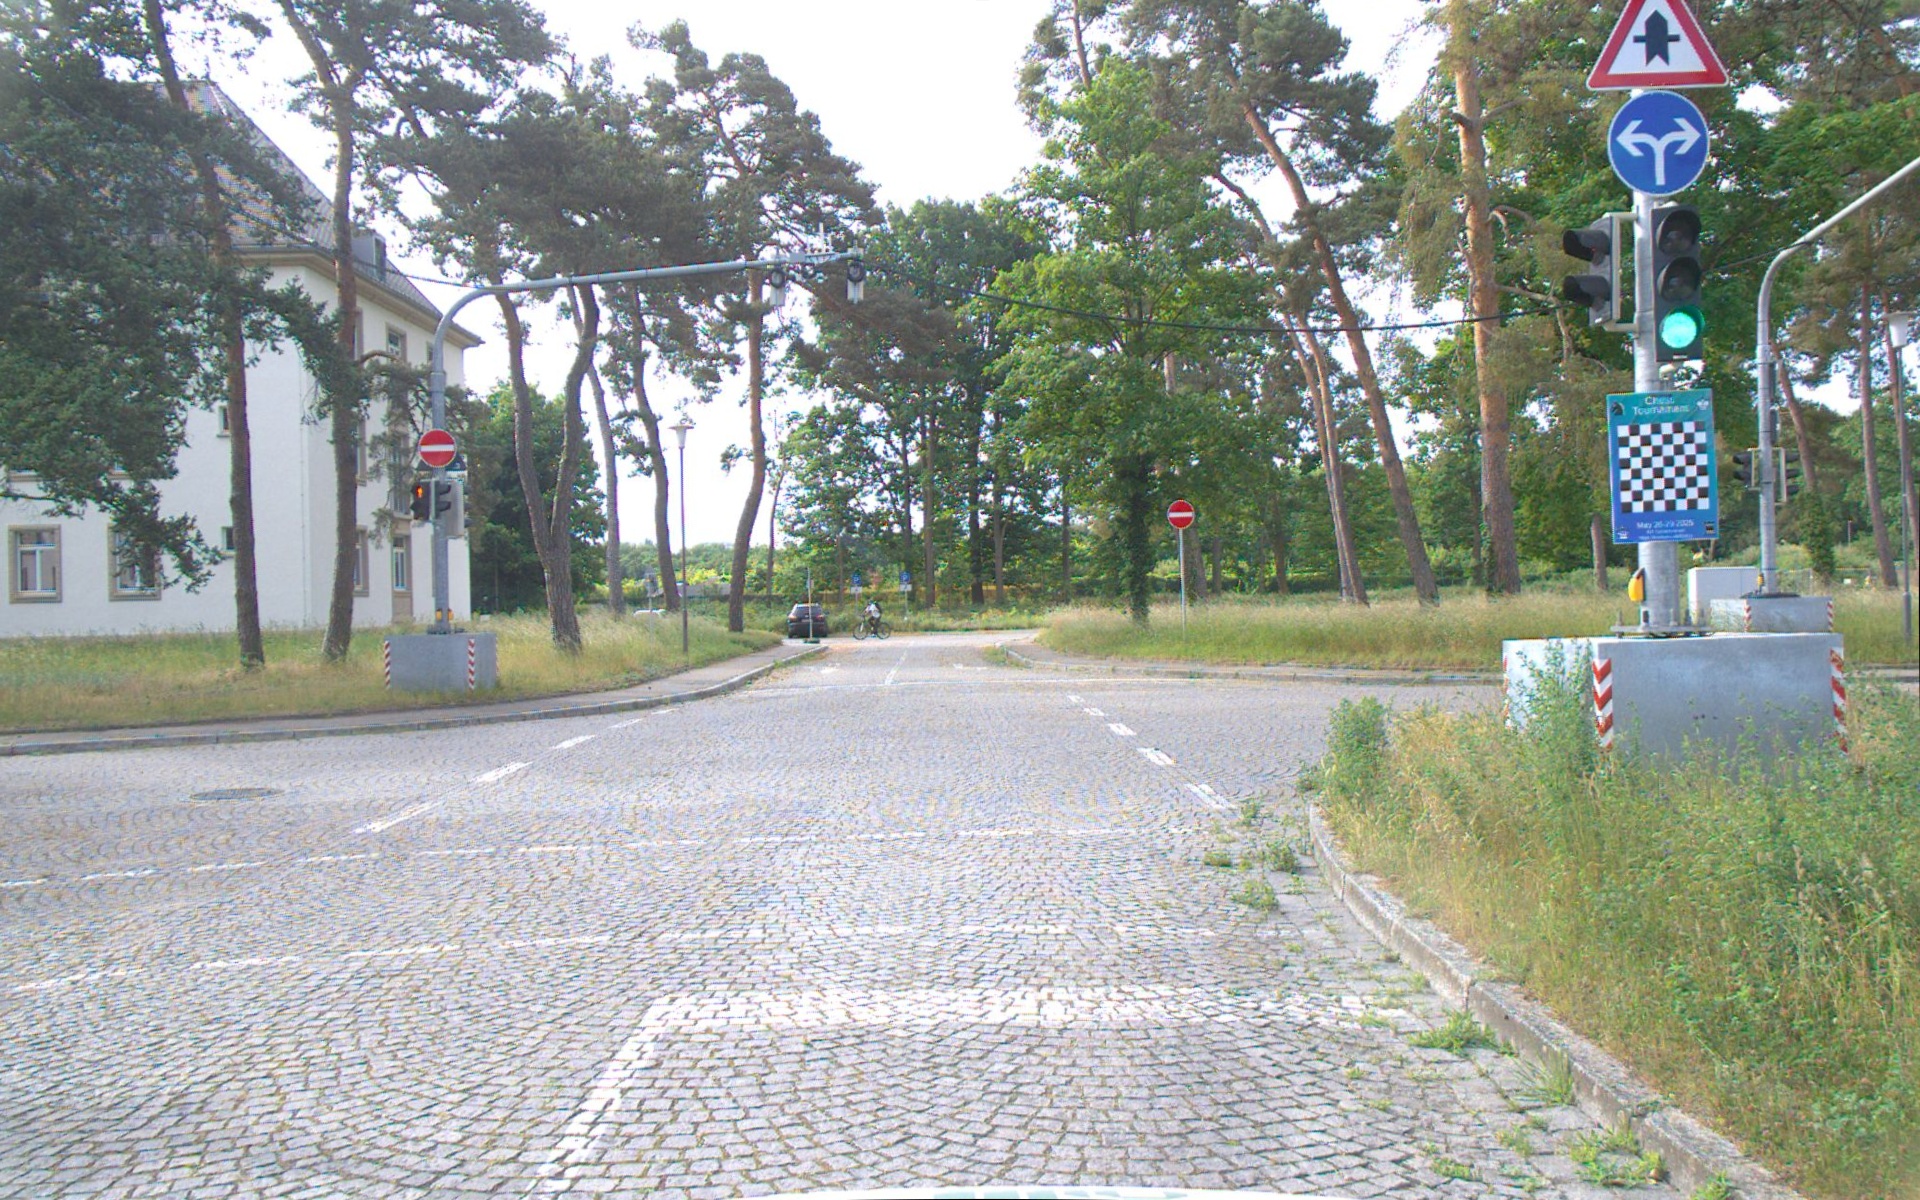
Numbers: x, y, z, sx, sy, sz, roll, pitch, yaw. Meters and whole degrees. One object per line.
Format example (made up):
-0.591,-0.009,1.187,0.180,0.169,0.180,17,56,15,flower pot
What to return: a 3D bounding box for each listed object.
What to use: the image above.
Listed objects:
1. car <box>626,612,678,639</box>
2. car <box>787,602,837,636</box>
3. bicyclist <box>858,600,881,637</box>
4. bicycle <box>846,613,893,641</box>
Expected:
-14.539,1.182,78.208,1.654,1.176,4.000,-2,0,0,car
-6.897,0.849,77.207,1.953,1.534,4.000,0,0,0,car
-3.910,0.804,71.534,0.955,1.537,0.807,-2,0,-4,bicyclist
-3.916,1.163,71.517,1.948,1.114,0.809,-2,0,-5,bicycle
